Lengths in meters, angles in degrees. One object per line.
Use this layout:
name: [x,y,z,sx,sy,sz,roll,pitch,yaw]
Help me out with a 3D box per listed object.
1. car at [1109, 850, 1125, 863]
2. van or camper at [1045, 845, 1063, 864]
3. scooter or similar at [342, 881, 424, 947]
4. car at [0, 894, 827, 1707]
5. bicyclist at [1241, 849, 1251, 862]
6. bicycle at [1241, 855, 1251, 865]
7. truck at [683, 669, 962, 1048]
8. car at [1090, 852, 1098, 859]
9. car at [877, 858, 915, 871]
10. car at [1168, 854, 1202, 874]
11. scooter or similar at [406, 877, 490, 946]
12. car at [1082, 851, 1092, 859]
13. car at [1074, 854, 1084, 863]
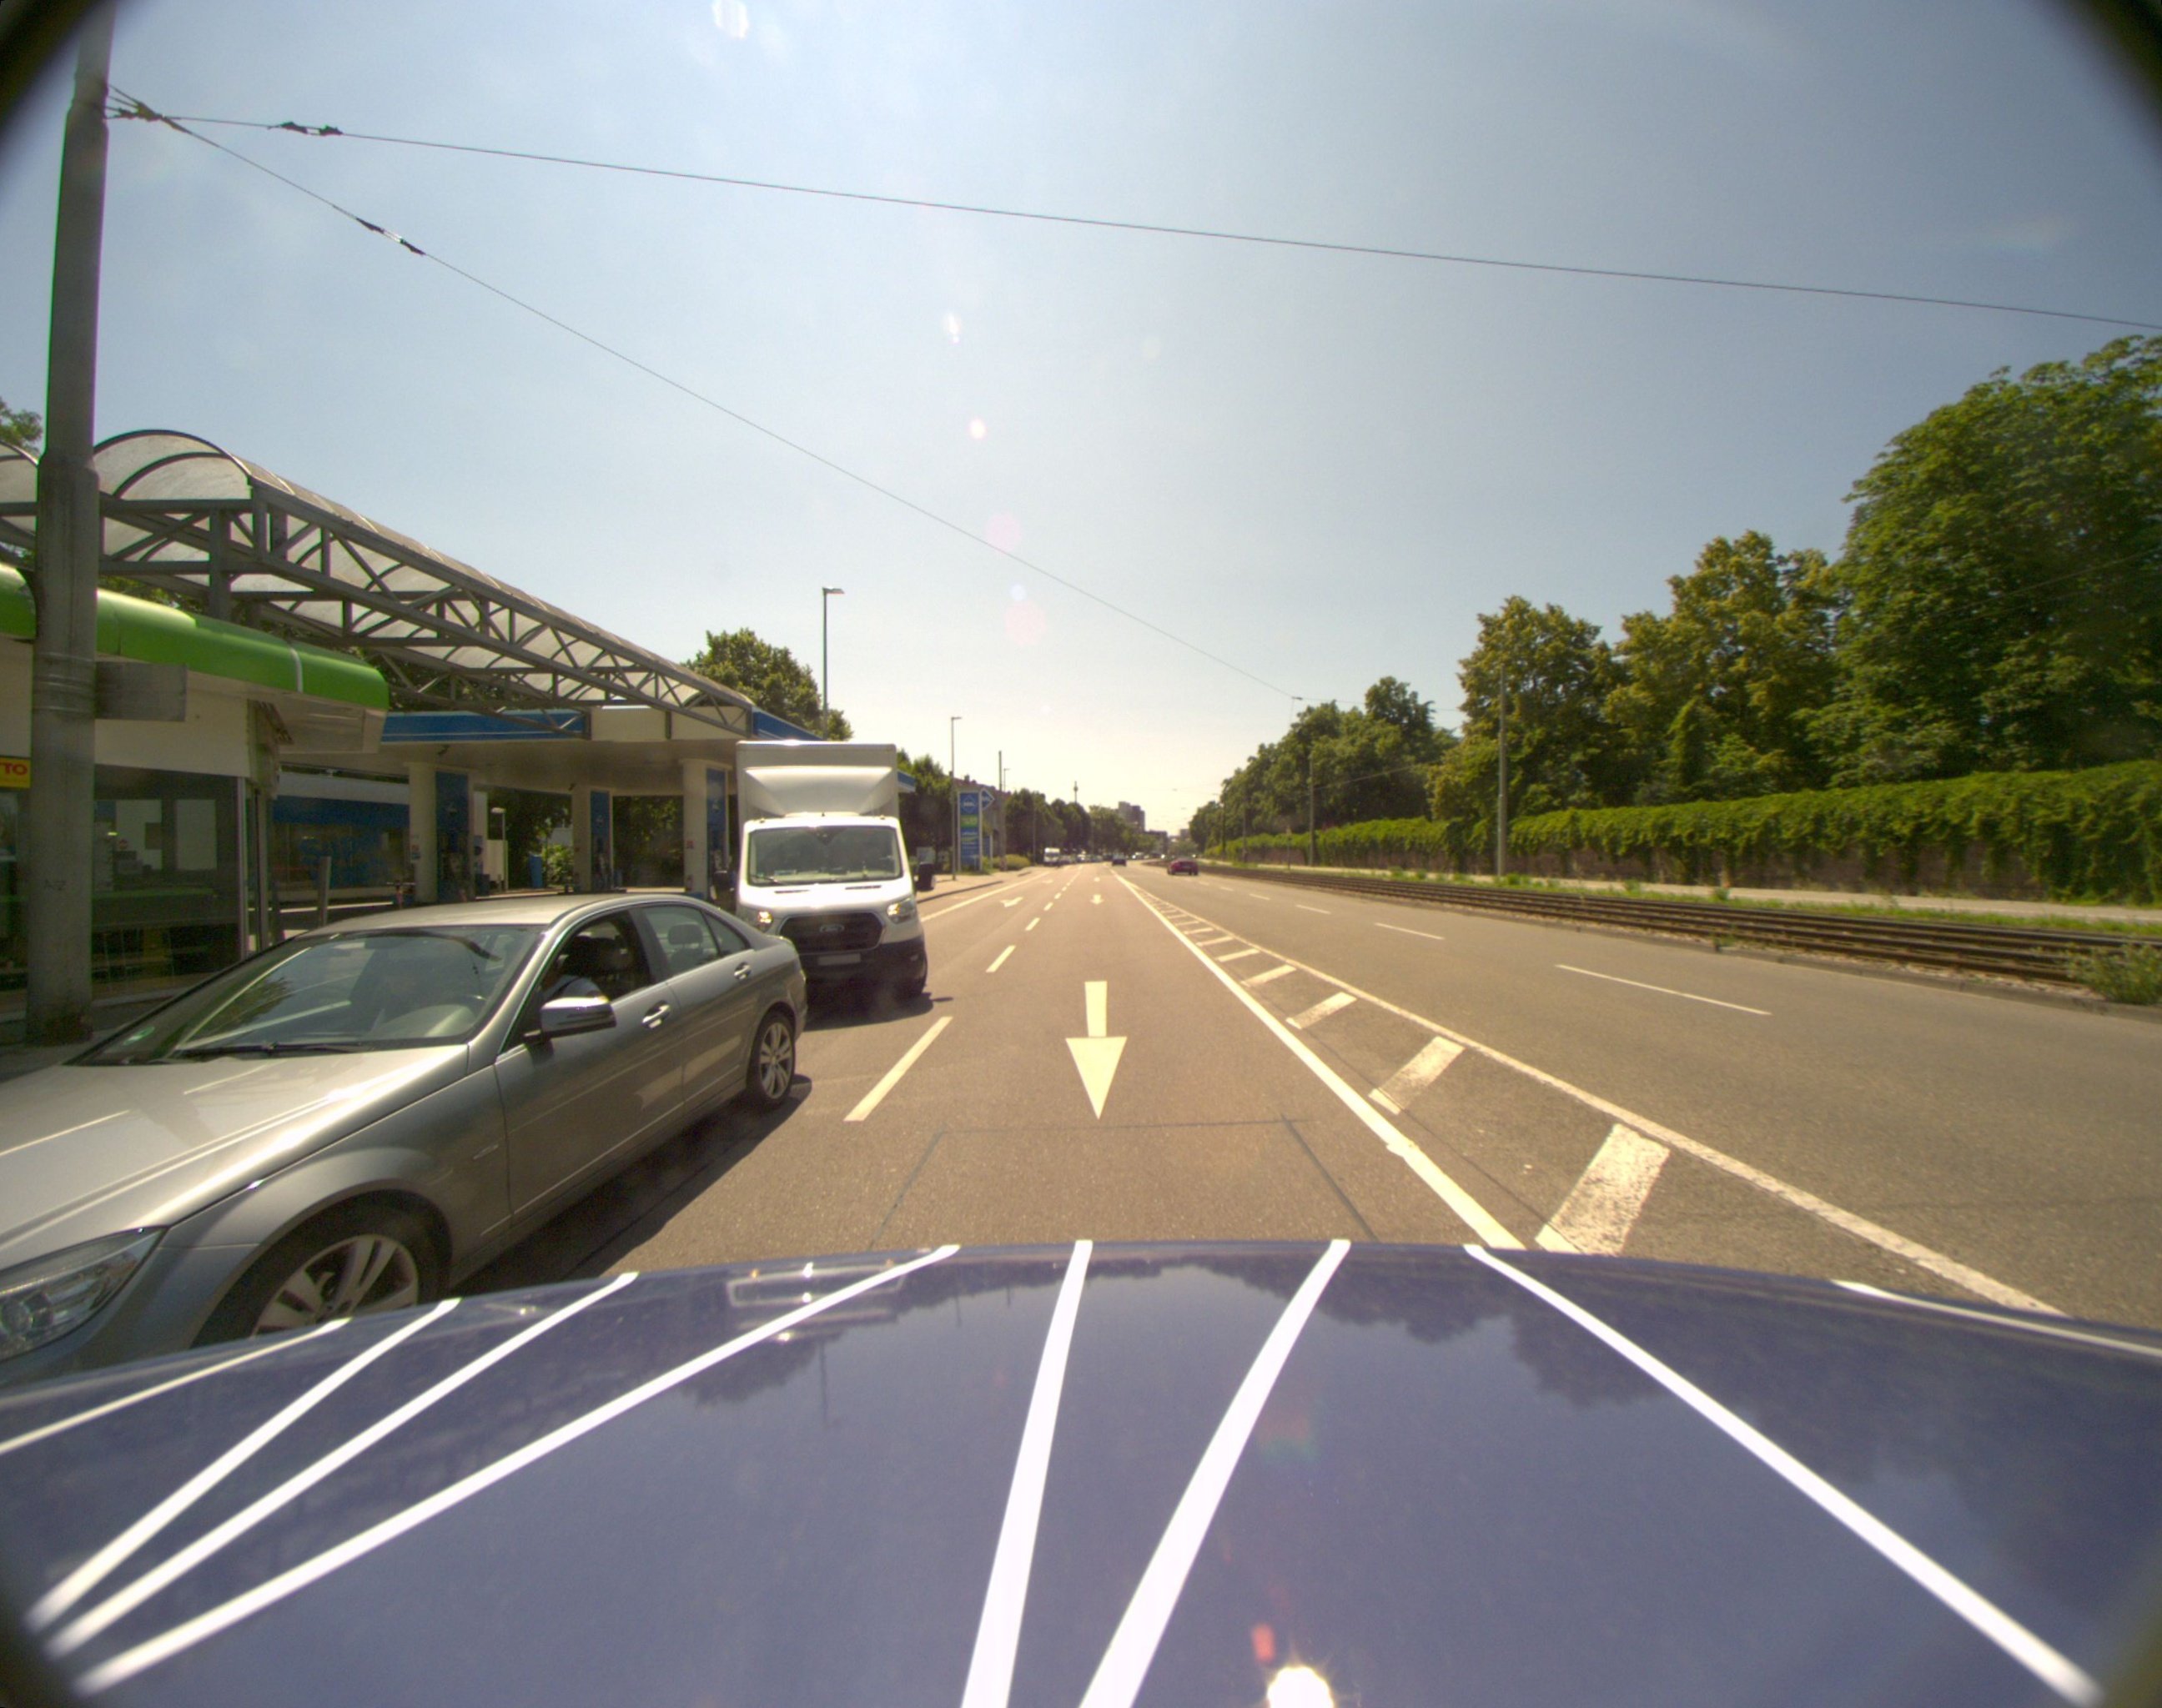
car: [4.643,0.340,98.857,1.998,1.608,4.000,-1,0,1]
van or camper: [-3.510,0.037,101.294,2.126,2.469,5.993,2,0,0]
scooter or similar: [-12.830,1.104,13.976,1.138,1.170,0.384,-1,1,2]
car: [-2.862,1.043,3.412,1.800,1.441,4.418,-1,0,2]
bicyclist: [18.770,0.172,86.235,0.997,1.477,1.000,-1,1,5]
bicycle: [18.789,0.689,86.423,0.830,1.149,2.686,-1,0,6]
truck: [-3.620,0.032,10.855,2.429,3.372,7.820,-1,0,-19]
car: [2.890,0.285,170.047,1.806,1.585,4.000,-1,0,2]
car: [-23.342,1.320,95.779,4.221,1.512,2.001,-1,0,9]
car: [7.526,0.710,55.277,1.989,1.350,4.538,-1,0,2]
scooter or similar: [-11.626,1.047,13.966,1.176,1.233,0.412,-1,1,2]
car: [1.256,0.269,161.943,1.907,1.707,4.000,-1,0,1]
car: [-0.461,0.847,150.069,1.725,1.586,4.001,-1,0,4]
